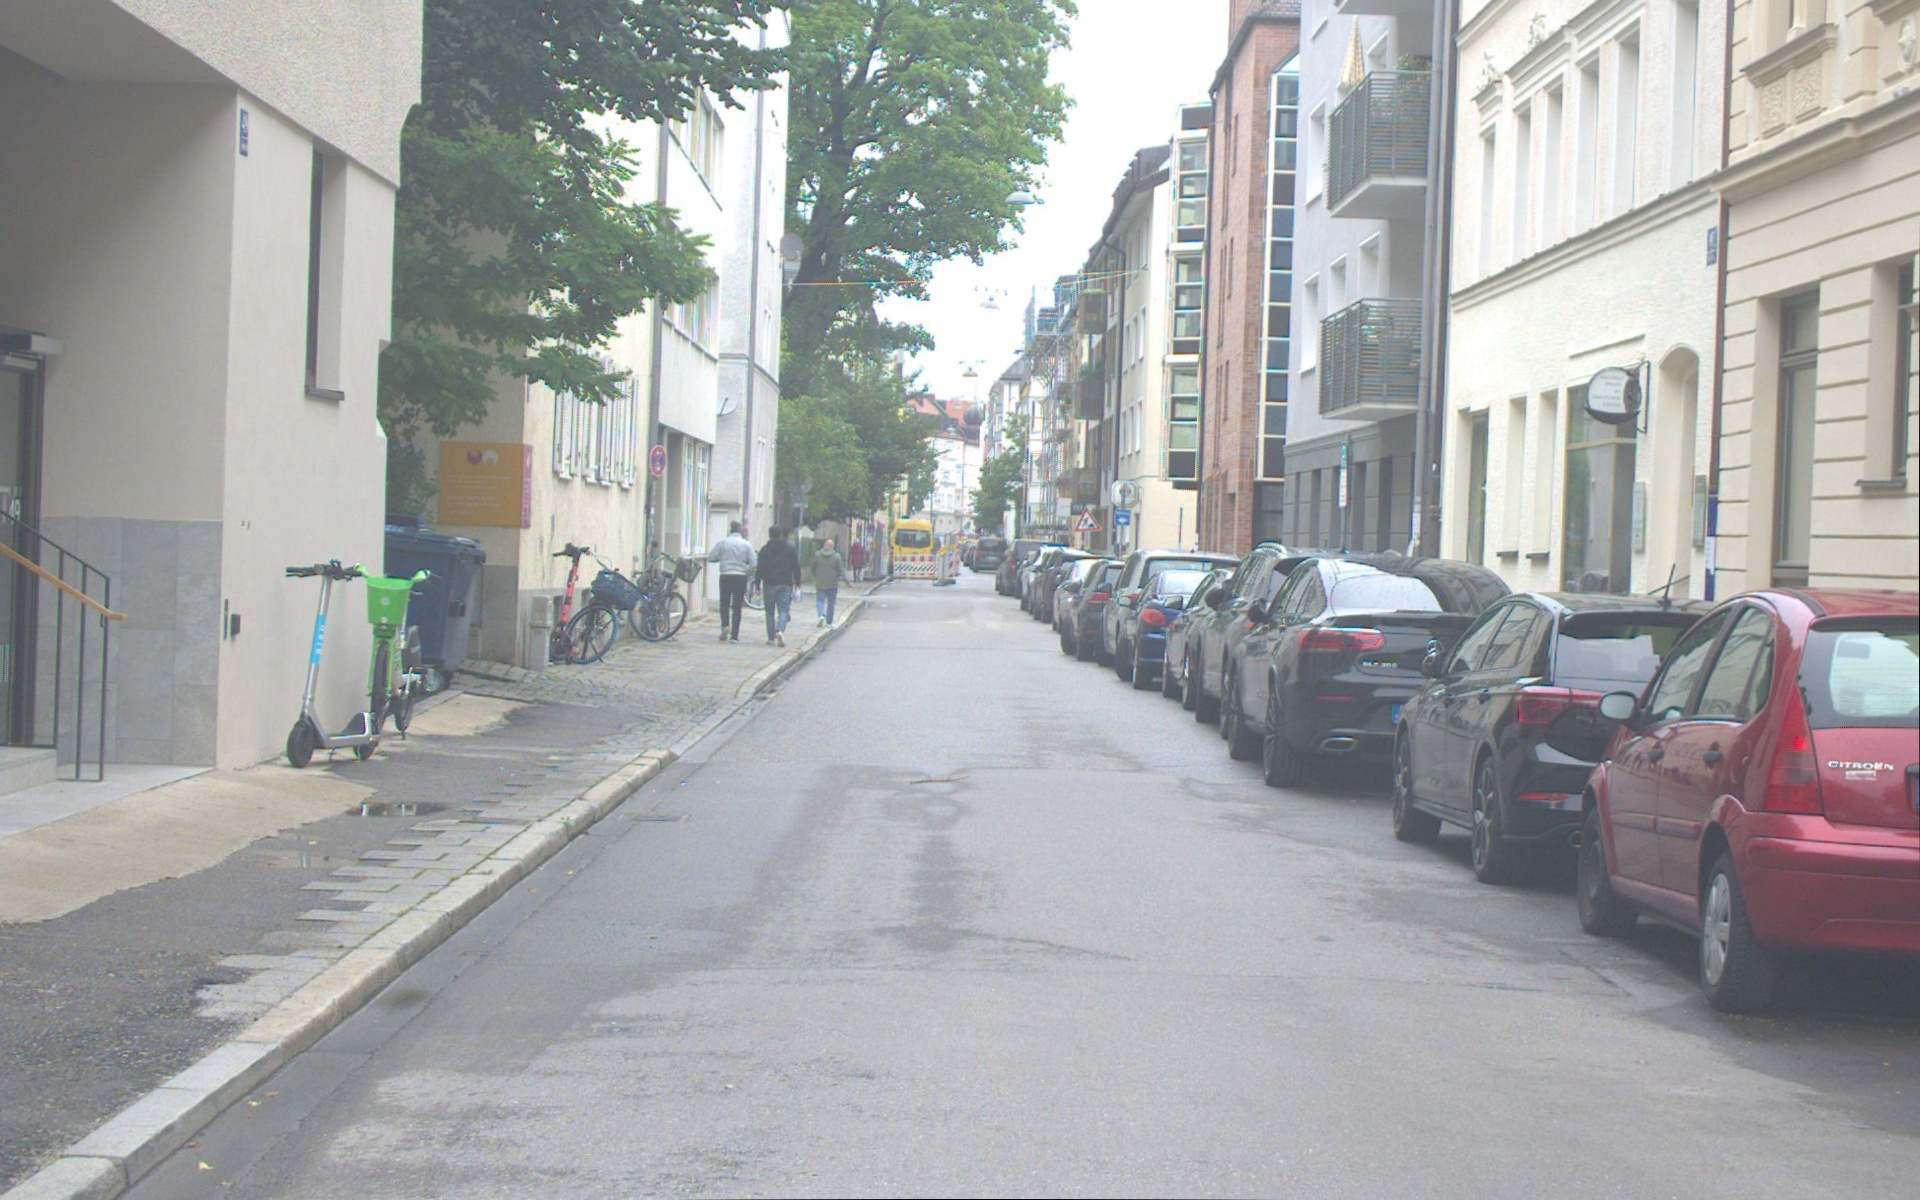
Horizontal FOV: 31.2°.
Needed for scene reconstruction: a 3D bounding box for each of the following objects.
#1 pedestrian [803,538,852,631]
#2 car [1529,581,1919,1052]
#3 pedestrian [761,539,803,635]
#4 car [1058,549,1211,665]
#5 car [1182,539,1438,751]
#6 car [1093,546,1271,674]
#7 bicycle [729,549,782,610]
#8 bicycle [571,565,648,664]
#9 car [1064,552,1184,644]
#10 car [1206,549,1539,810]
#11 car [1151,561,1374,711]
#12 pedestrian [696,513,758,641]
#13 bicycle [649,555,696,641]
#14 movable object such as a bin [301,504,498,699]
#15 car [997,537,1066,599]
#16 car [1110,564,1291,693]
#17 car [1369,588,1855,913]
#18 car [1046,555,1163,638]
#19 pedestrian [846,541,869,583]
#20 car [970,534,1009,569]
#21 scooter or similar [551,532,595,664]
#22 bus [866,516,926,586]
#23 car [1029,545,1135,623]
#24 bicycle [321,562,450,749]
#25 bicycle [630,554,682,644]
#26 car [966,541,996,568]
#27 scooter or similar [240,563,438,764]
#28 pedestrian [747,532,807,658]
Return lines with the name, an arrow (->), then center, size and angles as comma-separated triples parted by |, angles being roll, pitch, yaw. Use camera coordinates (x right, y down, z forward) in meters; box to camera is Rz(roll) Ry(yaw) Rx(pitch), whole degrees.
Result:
pedestrian -> -2.419, -0.284, 62.908 | 0.753, 1.653, 0.906 | 4, 0, 0
car -> 3.409, 0.729, 13.315 | 1.676, 1.487, 3.854 | 2, 1, -1
pedestrian -> -3.262, -0.249, 62.976 | 0.612, 1.707, 0.823 | 4, 0, -1
car -> 2.477, 0.067, 49.728 | 1.839, 1.523, 4.293 | 2, 1, -1
car -> 2.996, 0.327, 30.243 | 1.676, 1.655, 4.513 | 2, 1, -1
car -> 2.835, 0.094, 44.843 | 1.875, 1.565, 4.317 | 1, 1, -2
bicycle -> -4.219, -0.427, 70.831 | 0.641, 1.213, 1.665 | 1, 0, -19
bicycle -> -3.867, 0.148, 38.009 | 0.703, 0.981, 1.823 | 6, 0, -5
car -> 2.837, -0.057, 60.146 | 1.745, 1.457, 4.150 | 2, 1, -1
car -> 2.829, 0.479, 24.520 | 1.702, 1.601, 4.685 | 2, 1, -1
car -> 3.044, 0.326, 35.388 | 1.799, 1.381, 4.349 | 1, 1, -1
pedestrian -> -3.343, -0.331, 49.356 | 0.718, 1.790, 0.917 | 4, 0, 0
bicycle -> -4.008, -0.038, 47.867 | 0.561, 1.155, 1.721 | 2, 0, -6
movable object such as a bin -> -4.616, -0.006, 28.395 | 1.174, 1.437, 1.248 | 7, 2, 6
car -> 2.299, -1.056, 111.074 | 1.801, 1.814, 4.001 | 6, 1, -3
car -> 2.740, 0.294, 39.925 | 1.808, 1.358, 3.945 | 1, 1, 0
car -> 3.268, 0.692, 17.984 | 1.676, 1.388, 4.066 | 2, 1, -1
car -> 2.677, -0.094, 64.746 | 1.836, 1.412, 4.601 | 2, 1, -1
pedestrian -> -3.680, -1.374, 123.123 | 0.756, 1.486, 0.831 | 1, 0, 0
car -> 1.603, -2.687, 188.871 | 1.801, 1.706, 3.827 | 6, 1, -2
scooter or similar -> -4.079, -0.026, 36.275 | 0.317, 1.371, 1.239 | 1, 0, -1
bus -> -2.892, -2.226, 156.937 | 2.593, 3.091, 6.306 | 1, 0, 0
car -> 2.611, -0.378, 74.592 | 1.885, 1.550, 4.392 | 2, 1, -2
bicycle -> -3.816, 0.346, 22.943 | 0.544, 1.157, 1.882 | 4, 1, -2
bicycle -> -4.073, -0.024, 46.151 | 0.458, 1.155, 1.605 | 4, 0, 1
car -> 1.323, -2.903, 217.153 | 1.801, 1.608, 4.000 | 2, 1, 0
scooter or similar -> -3.753, 0.380, 20.878 | 0.552, 1.140, 1.357 | 5, 1, 16
pedestrian -> -2.643, -0.076, 49.659 | 0.718, 1.759, 0.838 | 4, 0, 0
